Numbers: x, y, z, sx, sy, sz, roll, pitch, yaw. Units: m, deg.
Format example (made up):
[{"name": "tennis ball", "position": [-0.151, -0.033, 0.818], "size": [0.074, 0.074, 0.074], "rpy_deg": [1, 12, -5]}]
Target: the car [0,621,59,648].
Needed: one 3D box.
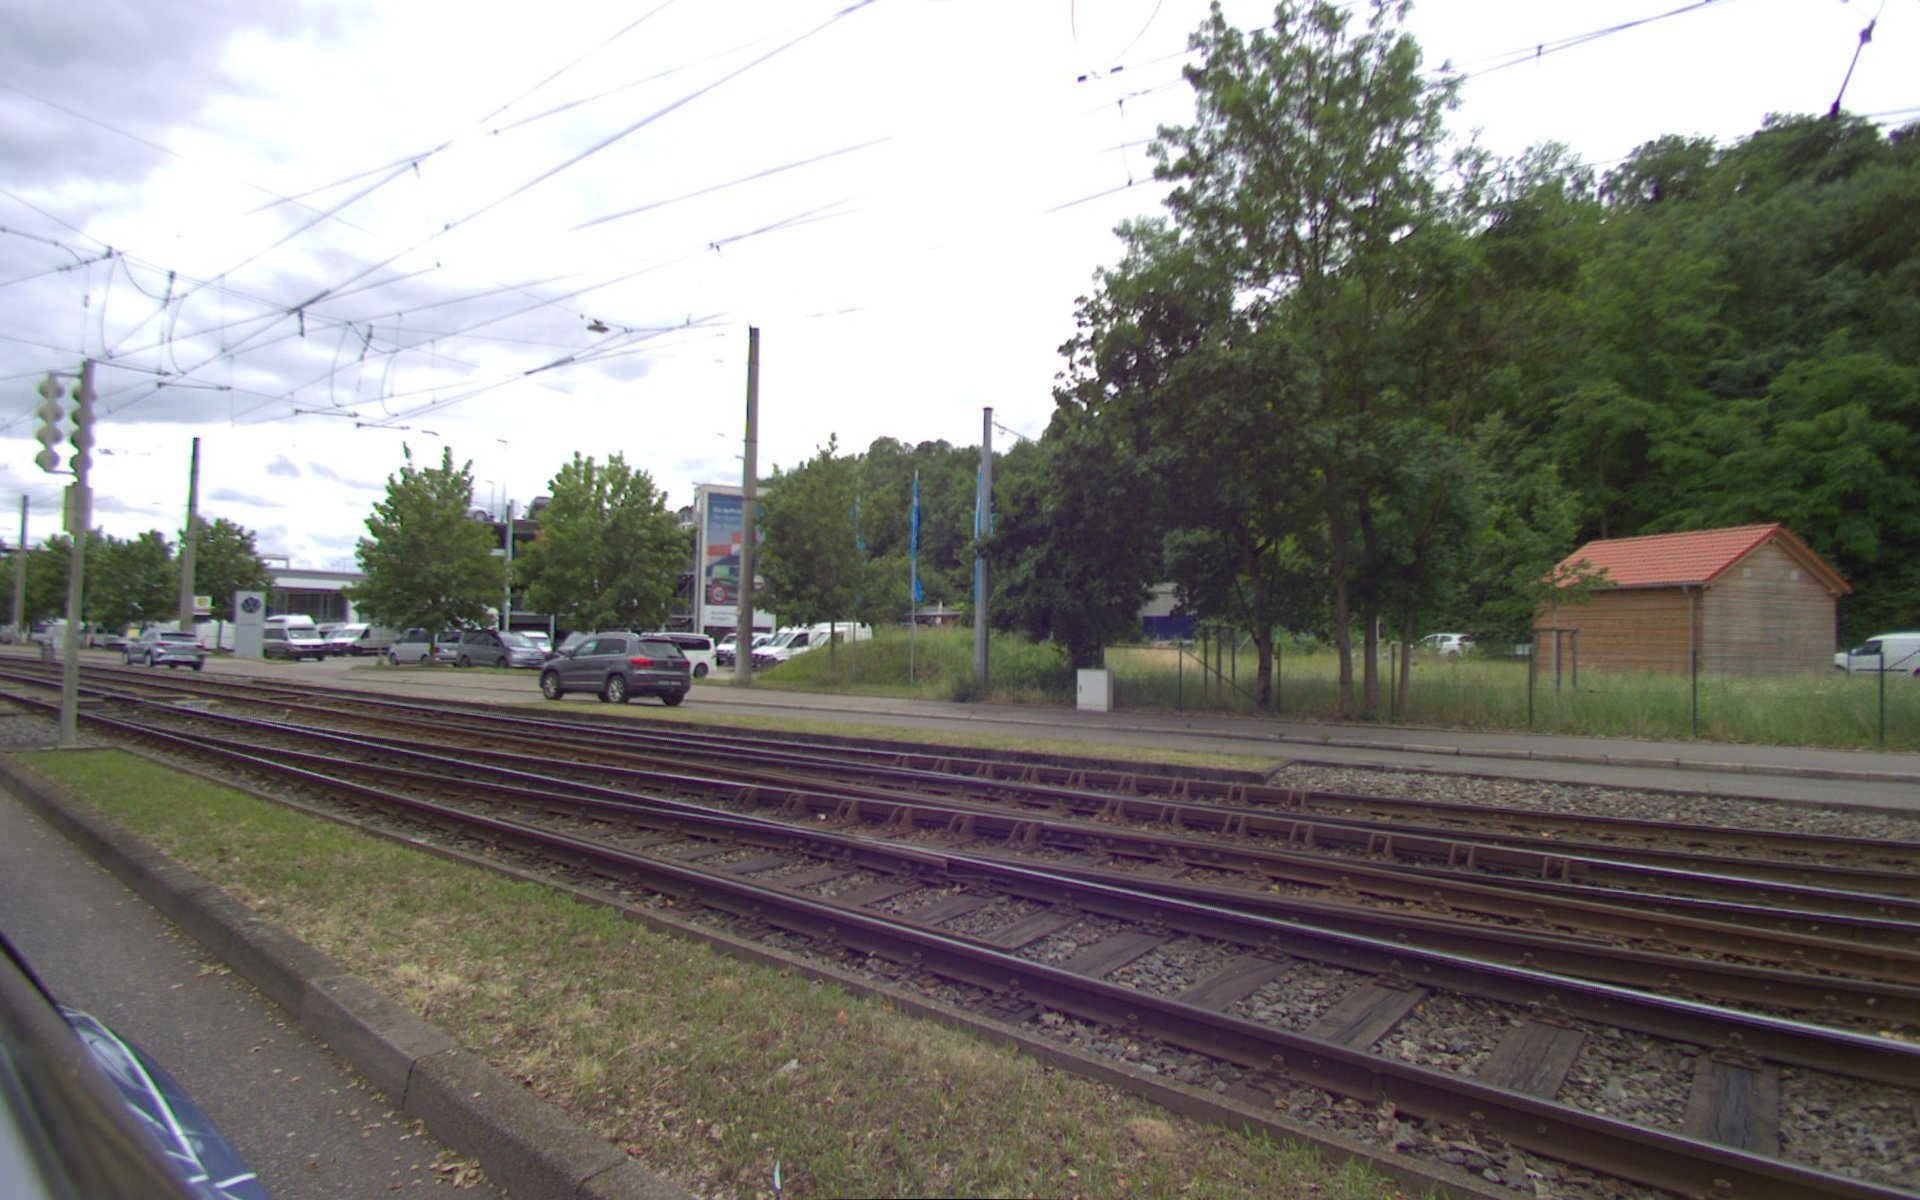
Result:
[{"name": "car", "position": [-83.598, 3.056, 90.144], "size": [2.102, 2.225, 4.589], "rpy_deg": [-1, 0, 32]}]

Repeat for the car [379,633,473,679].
[{"name": "car", "position": [-27.046, 2.767, 51.207], "size": [4.761, 2.132, 2.119], "rpy_deg": [-1, 0, 32]}]

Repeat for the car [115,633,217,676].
[{"name": "car", "position": [-31.501, 2.135, 40.135], "size": [4.167, 1.590, 1.977], "rpy_deg": [-1, -3, 34]}]

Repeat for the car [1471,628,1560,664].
[{"name": "car", "position": [28.184, 2.304, 51.435], "size": [1.727, 1.625, 3.693], "rpy_deg": [-1, 0, -22]}]

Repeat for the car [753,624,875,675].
[{"name": "car", "position": [-7.349, 2.454, 51.089], "size": [5.751, 2.284, 2.060], "rpy_deg": [-1, 0, -28]}]

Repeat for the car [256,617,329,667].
[{"name": "car", "position": [-43.177, 2.665, 65.415], "size": [6.154, 3.034, 2.291], "rpy_deg": [-1, 0, 40]}]

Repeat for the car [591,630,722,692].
[{"name": "car", "position": [-12.834, 2.528, 43.113], "size": [1.997, 2.284, 5.206], "rpy_deg": [-1, 0, 37]}]

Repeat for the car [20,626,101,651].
[{"name": "car", "position": [-73.581, 3.112, 82.849], "size": [2.102, 1.854, 4.589], "rpy_deg": [-1, 0, 32]}]

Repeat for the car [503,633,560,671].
[{"name": "car", "position": [-24.511, 2.935, 57.815], "size": [1.872, 1.907, 4.606], "rpy_deg": [-1, 0, -38]}]

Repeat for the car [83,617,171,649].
[{"name": "car", "position": [-61.480, 2.397, 74.743], "size": [2.102, 2.225, 4.589], "rpy_deg": [-1, 0, 32]}]

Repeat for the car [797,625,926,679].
[{"name": "car", "position": [-4.694, 2.420, 48.368], "size": [5.762, 2.284, 2.060], "rpy_deg": [-1, 0, -28]}]

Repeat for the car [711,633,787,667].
[{"name": "car", "position": [-12.978, 3.041, 62.221], "size": [4.165, 1.850, 1.986], "rpy_deg": [-1, 0, -31]}]

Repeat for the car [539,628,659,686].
[{"name": "car", "position": [-15.997, 2.486, 45.056], "size": [1.977, 2.284, 4.717], "rpy_deg": [-1, 0, 37]}]

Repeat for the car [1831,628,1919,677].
[{"name": "car", "position": [34.187, 1.871, 36.533], "size": [1.877, 1.625, 3.693], "rpy_deg": [-1, 0, -22]}]

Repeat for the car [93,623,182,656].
[{"name": "car", "position": [-59.498, 2.823, 73.294], "size": [2.102, 2.225, 4.589], "rpy_deg": [-1, 0, 32]}]

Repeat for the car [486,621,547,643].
[{"name": "car", "position": [-41.809, 2.981, 95.384], "size": [5.138, 1.850, 1.986], "rpy_deg": [-1, 0, -29]}]

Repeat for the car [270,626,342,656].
[{"name": "car", "position": [-53.659, 3.325, 83.126], "size": [2.107, 2.225, 4.579], "rpy_deg": [-1, 0, 39]}]

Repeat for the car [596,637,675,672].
[{"name": "car", "position": [-19.423, 3.213, 60.620], "size": [4.165, 1.850, 1.986], "rpy_deg": [-1, 0, -31]}]

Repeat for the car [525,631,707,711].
[{"name": "car", "position": [-8.267, 1.683, 24.290], "size": [4.122, 1.731, 1.886], "rpy_deg": [-1, -5, 32]}]

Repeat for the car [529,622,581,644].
[{"name": "car", "position": [-36.822, 2.966, 92.079], "size": [4.164, 1.850, 1.986], "rpy_deg": [-1, 0, -29]}]

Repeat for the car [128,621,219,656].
[{"name": "car", "position": [-54.959, 2.648, 70.801], "size": [2.102, 2.225, 4.589], "rpy_deg": [-1, 0, 32]}]

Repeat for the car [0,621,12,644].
[{"name": "car", "position": [-94.076, 3.192, 96.859], "size": [2.102, 2.225, 4.589], "rpy_deg": [-1, 0, 32]}]

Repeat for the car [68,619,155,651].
[{"name": "car", "position": [-63.858, 2.626, 76.227], "size": [2.102, 2.225, 4.589], "rpy_deg": [-1, 0, 32]}]

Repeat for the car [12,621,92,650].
[{"name": "car", "position": [-75.543, 2.951, 84.254], "size": [2.102, 2.225, 4.589], "rpy_deg": [-1, 0, 32]}]

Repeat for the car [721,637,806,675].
[{"name": "car", "position": [-10.914, 3.068, 56.259], "size": [4.165, 1.850, 1.986], "rpy_deg": [-1, 0, -31]}]

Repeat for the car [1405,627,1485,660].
[{"name": "car", "position": [26.489, 2.325, 55.390], "size": [1.727, 1.625, 3.693], "rpy_deg": [-1, 0, -25]}]

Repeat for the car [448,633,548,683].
[{"name": "car", "position": [-21.805, 2.691, 47.758], "size": [4.763, 2.132, 2.118], "rpy_deg": [-1, 0, 34]}]

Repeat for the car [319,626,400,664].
[{"name": "car", "position": [-46.472, 3.440, 78.523], "size": [2.293, 2.642, 6.036], "rpy_deg": [-1, 0, 6]}]

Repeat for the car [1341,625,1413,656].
[{"name": "car", "position": [24.477, 2.351, 59.462], "size": [1.727, 1.625, 3.693], "rpy_deg": [-1, 0, -25]}]

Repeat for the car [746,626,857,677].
[{"name": "car", "position": [-8.478, 2.721, 54.392], "size": [5.568, 2.479, 1.986], "rpy_deg": [-1, 0, -31]}]

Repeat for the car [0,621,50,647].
[{"name": "car", "position": [-85.621, 3.082, 91.519], "size": [2.102, 2.225, 4.589], "rpy_deg": [-1, 0, 32]}]
